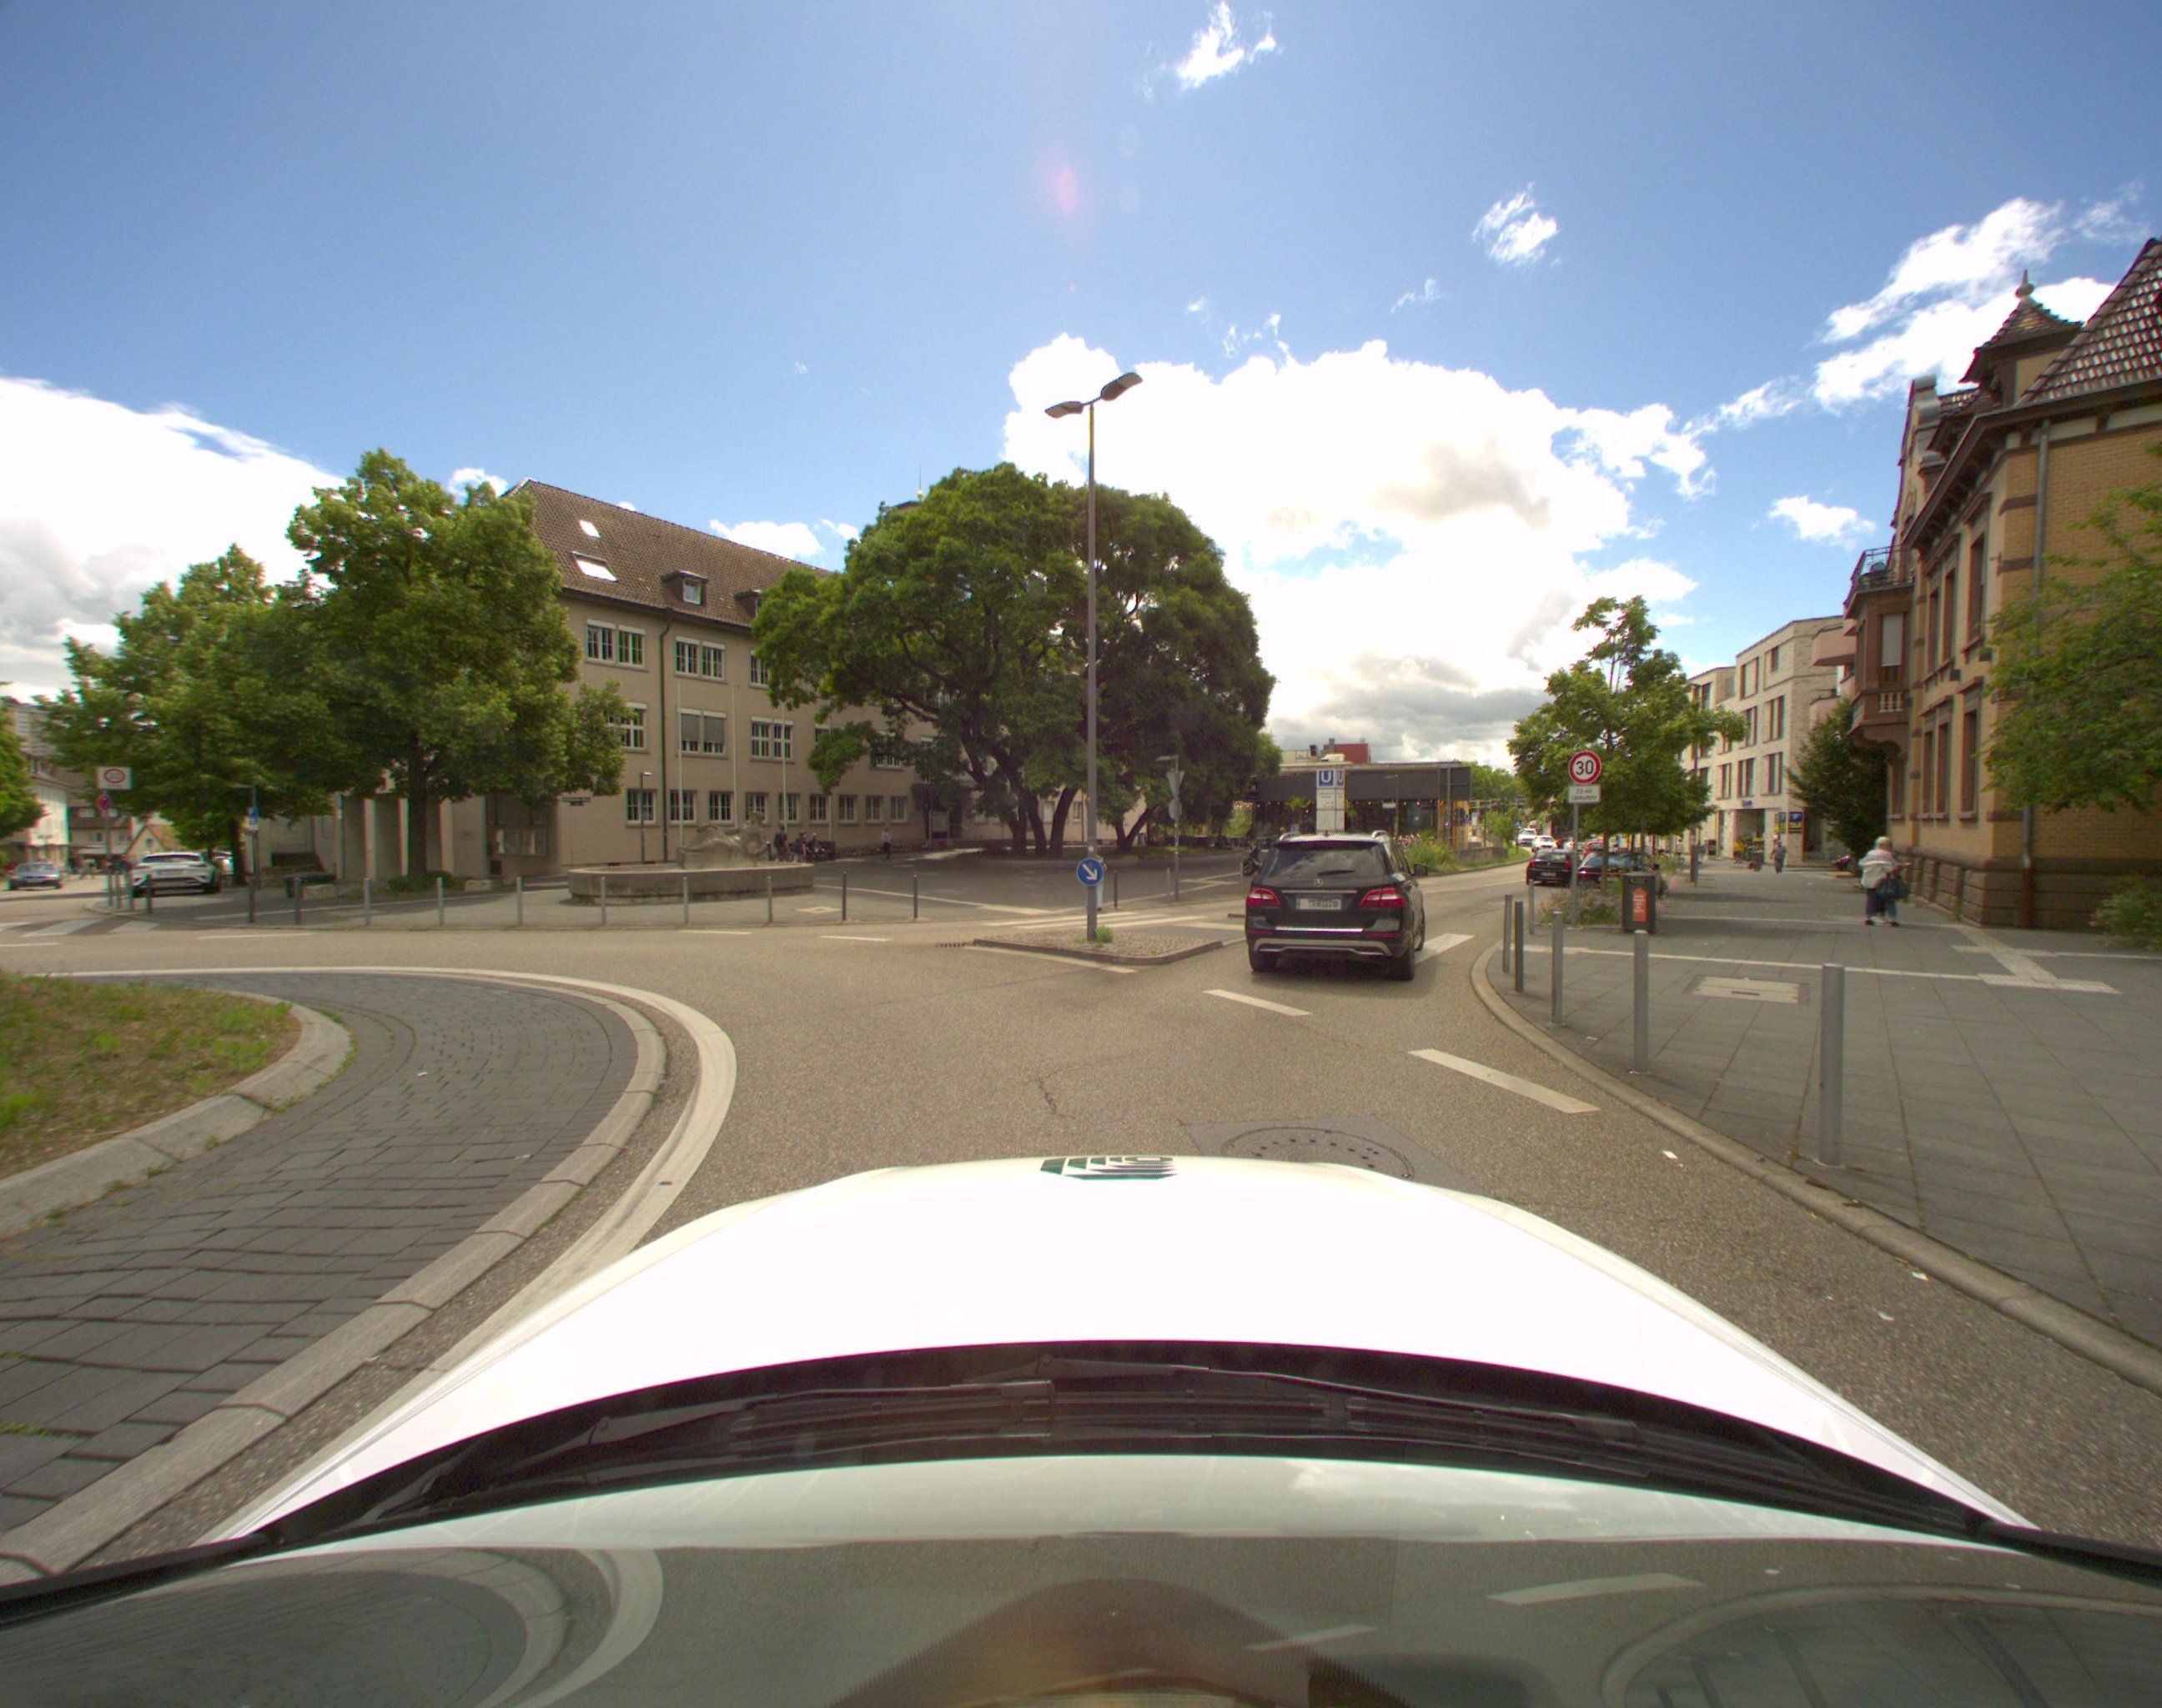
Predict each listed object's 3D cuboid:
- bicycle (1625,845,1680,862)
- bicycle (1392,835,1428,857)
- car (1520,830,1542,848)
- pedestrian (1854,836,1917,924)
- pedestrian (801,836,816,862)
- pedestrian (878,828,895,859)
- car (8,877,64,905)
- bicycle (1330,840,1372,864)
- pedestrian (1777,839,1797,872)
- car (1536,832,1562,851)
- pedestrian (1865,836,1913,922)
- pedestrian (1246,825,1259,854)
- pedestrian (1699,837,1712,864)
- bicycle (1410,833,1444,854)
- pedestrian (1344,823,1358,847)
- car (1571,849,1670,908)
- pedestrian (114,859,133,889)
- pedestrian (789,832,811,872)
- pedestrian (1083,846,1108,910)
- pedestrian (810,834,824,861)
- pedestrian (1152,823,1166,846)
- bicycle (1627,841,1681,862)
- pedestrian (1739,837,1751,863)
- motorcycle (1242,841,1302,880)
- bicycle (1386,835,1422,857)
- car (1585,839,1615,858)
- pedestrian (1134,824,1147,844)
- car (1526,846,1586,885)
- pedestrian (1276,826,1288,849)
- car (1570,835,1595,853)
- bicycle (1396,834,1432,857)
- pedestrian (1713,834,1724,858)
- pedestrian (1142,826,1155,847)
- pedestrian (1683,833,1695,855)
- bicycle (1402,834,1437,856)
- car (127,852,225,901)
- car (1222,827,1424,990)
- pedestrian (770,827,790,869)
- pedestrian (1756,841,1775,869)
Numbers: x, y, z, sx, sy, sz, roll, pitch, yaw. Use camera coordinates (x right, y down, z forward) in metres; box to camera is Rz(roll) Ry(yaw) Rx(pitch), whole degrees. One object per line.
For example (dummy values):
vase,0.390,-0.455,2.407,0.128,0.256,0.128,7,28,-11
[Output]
bicycle,38.641,-0.032,55.136,3.030,1.146,0.714,0,1,33
bicycle,16.270,-0.416,40.277,1.553,1.069,0.542,1,1,38
car,50.833,-1.735,92.067,1.824,1.857,4.524,3,3,25
pedestrian,15.253,0.486,15.463,0.549,1.629,0.679,-1,0,10
pedestrian,-12.543,-0.229,37.484,0.485,1.182,0.580,0,0,-5
pedestrian,-9.478,-0.500,39.632,0.700,1.492,0.810,0,0,-20
car,-55.216,1.945,43.018,3.948,1.266,1.744,0,1,37
bicycle,11.362,-0.083,34.315,1.596,0.997,0.503,1,1,44
pedestrian,35.339,0.081,40.749,0.625,1.626,0.704,0,1,31
car,42.810,-1.166,74.551,1.824,1.607,4.024,3,3,26
pedestrian,15.799,0.481,15.930,0.499,1.629,0.513,-1,0,24
pedestrian,9.277,-0.788,44.062,0.609,1.577,0.585,0,1,16
pedestrian,40.376,-0.233,52.676,0.656,1.682,0.572,0,1,35
bicycle,17.991,-0.535,42.337,1.553,1.091,0.582,1,1,38
pedestrian,16.442,-1.149,49.607,0.619,1.463,0.576,-1,1,-44
car,14.744,0.588,22.159,1.838,1.406,4.402,-1,0,39
pedestrian,-50.714,1.052,43.137,0.573,1.549,0.601,0,0,42
pedestrian,-10.865,-0.087,31.452,0.641,1.523,0.571,0,4,-37
pedestrian,0.368,0.584,20.314,0.547,1.513,0.789,0,3,6
pedestrian,-12.423,-0.303,38.299,0.485,1.222,0.580,0,0,-5
pedestrian,5.733,-1.434,59.733,0.778,1.627,0.641,0,1,37
bicycle,39.642,-0.178,56.414,3.030,1.486,0.714,0,1,33
pedestrian,43.644,-0.272,53.527,0.553,1.691,0.643,0,1,35
motorcycle,7.002,0.217,29.977,2.112,1.289,0.587,2,5,40
bicycle,15.749,-0.399,39.702,1.553,1.091,0.582,1,1,38
car,39.263,-0.445,61.658,1.593,1.383,3.860,0,1,28
pedestrian,4.647,-1.538,63.320,0.628,1.577,0.793,0,1,38
car,18.625,0.410,31.863,1.593,1.383,3.861,0,1,37
pedestrian,12.013,-0.979,48.599,0.576,1.379,0.619,0,1,26
car,46.101,-0.937,74.829,1.823,1.524,4.026,3,3,32
bicycle,16.671,-0.432,40.808,1.553,1.091,0.582,1,1,38
pedestrian,45.874,-0.572,58.590,0.553,1.682,0.572,0,1,35
pedestrian,5.094,-1.351,61.568,0.778,1.577,0.641,0,1,37
pedestrian,46.158,-0.773,61.807,0.554,1.682,0.571,0,1,16
bicycle,17.328,-0.481,41.667,1.553,1.091,0.582,1,1,38
car,-31.418,0.724,28.389,1.995,1.530,3.951,-1,1,-44
car,3.487,0.550,11.053,2.009,1.727,4.459,-1,1,24
pedestrian,-11.772,-0.226,31.835,0.577,1.608,0.433,0,4,-38
pedestrian,38.323,0.028,45.601,0.704,1.563,0.572,0,1,31
